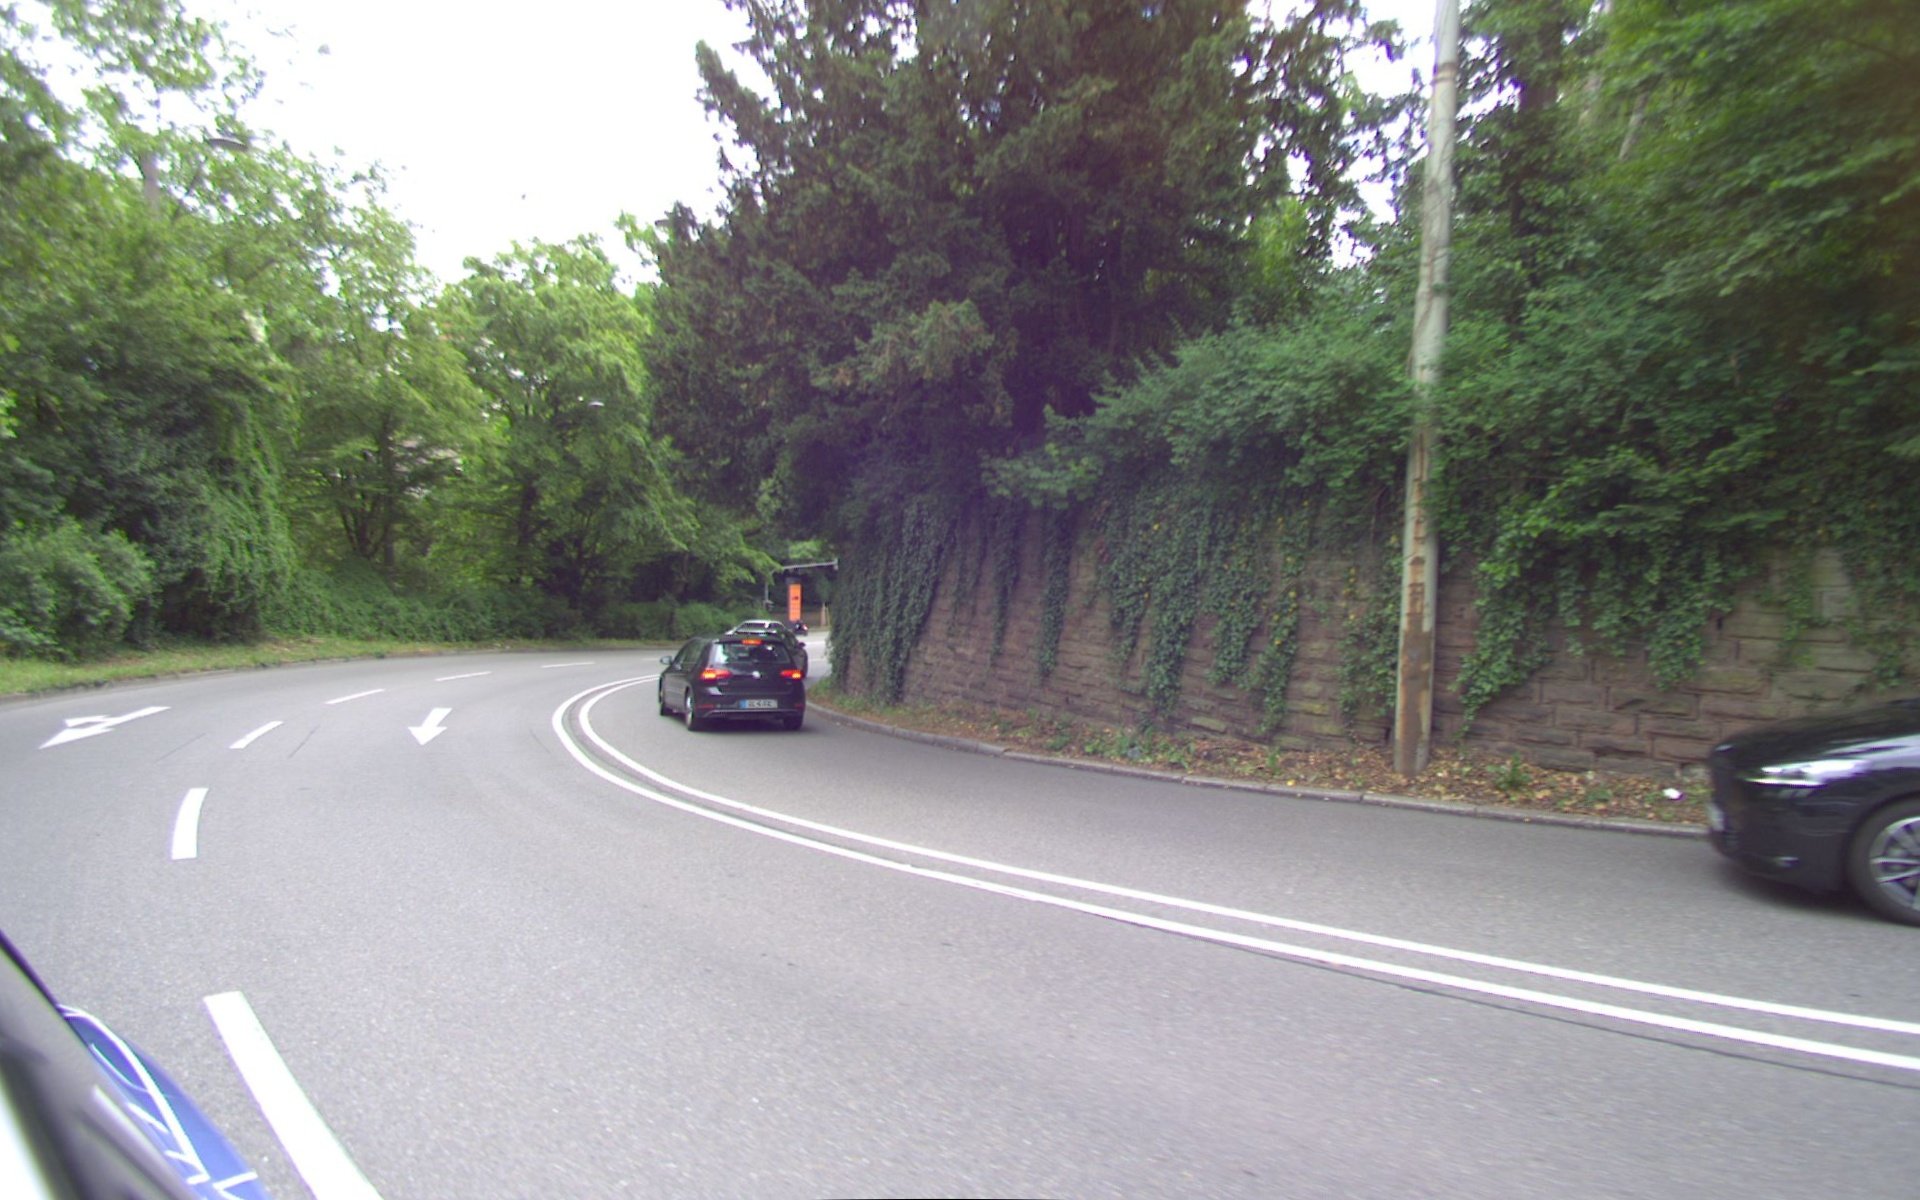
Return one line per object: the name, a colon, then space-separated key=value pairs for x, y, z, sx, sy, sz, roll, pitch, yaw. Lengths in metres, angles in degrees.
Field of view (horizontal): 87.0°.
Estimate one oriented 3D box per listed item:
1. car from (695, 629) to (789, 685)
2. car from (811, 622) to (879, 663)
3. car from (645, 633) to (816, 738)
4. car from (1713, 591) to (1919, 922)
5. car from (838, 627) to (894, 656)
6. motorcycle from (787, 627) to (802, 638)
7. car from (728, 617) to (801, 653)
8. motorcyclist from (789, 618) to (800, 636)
car: x=-6.133 y=1.582 z=28.895 sx=1.640 sy=1.451 sz=4.293 roll=2 pitch=-2 yaw=1
car: x=-5.118 y=1.892 z=45.602 sx=1.757 sy=1.665 sz=4.370 roll=2 pitch=-2 yaw=12
car: x=-3.789 y=1.274 z=16.198 sx=1.776 sy=1.454 sz=4.013 roll=2 pitch=-3 yaw=-26
car: x=6.253 y=0.723 z=4.824 sx=4.047 sy=1.586 sz=1.592 roll=-2 pitch=-3 yaw=31
car: x=-5.553 y=2.400 z=59.093 sx=1.885 sy=1.489 sz=4.541 roll=4 pitch=-2 yaw=-23
motorcycle: x=-14.389 y=2.841 z=88.084 sx=0.797 sy=0.896 sz=2.437 roll=1 pitch=-1 yaw=-20
car: x=-9.627 y=1.709 z=50.163 sx=1.898 sy=1.563 sz=4.510 roll=3 pitch=-1 yaw=11
motorcyclist: x=-14.371 y=2.334 z=88.043 sx=0.736 sy=1.541 sz=1.098 roll=1 pitch=-1 yaw=-20
